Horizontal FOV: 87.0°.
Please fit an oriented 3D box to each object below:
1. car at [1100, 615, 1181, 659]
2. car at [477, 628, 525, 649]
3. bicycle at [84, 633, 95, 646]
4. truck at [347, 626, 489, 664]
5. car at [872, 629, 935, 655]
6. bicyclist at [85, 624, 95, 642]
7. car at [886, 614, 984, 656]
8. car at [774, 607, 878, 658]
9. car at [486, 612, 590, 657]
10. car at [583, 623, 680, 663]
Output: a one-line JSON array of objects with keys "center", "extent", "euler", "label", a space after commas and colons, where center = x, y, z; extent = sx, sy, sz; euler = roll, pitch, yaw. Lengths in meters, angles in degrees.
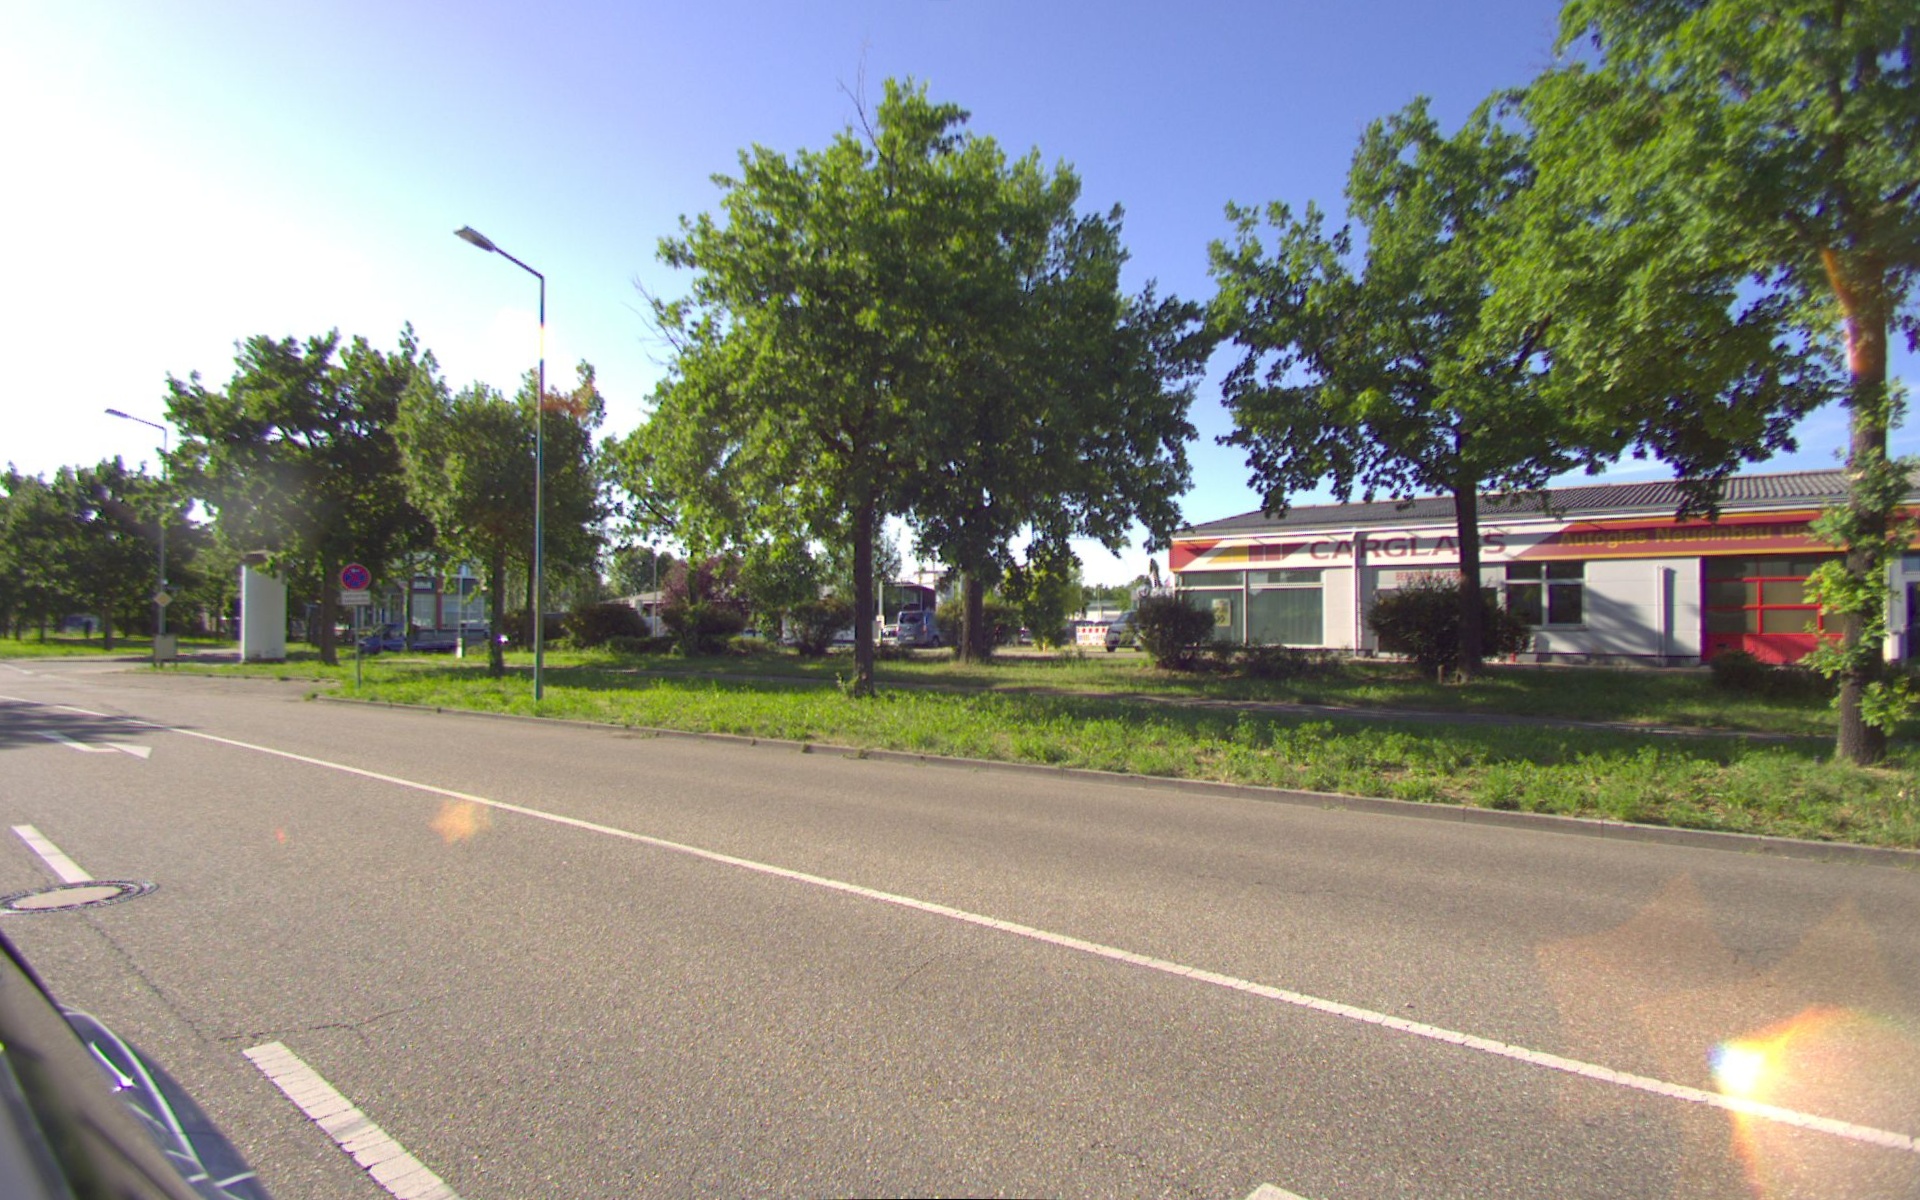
[{"center": [6.701, 1.337, 37.379], "extent": [1.590, 1.509, 3.564], "euler": [-1, -1, 36], "label": "car"}, {"center": [-37.735, 3.165, 83.197], "extent": [4.296, 1.505, 1.973], "euler": [1, 1, 40], "label": "car"}, {"center": [-82.198, 3.689, 95.596], "extent": [2.335, 1.170, 0.545], "euler": [-1, 0, 44], "label": "bicycle"}, {"center": [-31.497, 2.609, 59.096], "extent": [2.138, 2.065, 7.042], "euler": [-1, -2, 38], "label": "truck"}, {"center": [-3.075, 2.274, 55.421], "extent": [1.572, 1.312, 3.488], "euler": [-2, -2, 38], "label": "car"}, {"center": [-82.102, 3.095, 95.540], "extent": [0.659, 1.641, 0.656], "euler": [-1, -1, 43], "label": "bicyclist"}, {"center": [-1.250, 1.822, 52.962], "extent": [2.297, 2.085, 5.358], "euler": [-1, -2, 37], "label": "car"}, {"center": [-7.602, 1.787, 57.881], "extent": [2.297, 2.723, 6.102], "euler": [-1, 0, 37], "label": "car"}, {"center": [-27.091, 2.160, 65.132], "extent": [2.297, 2.723, 5.807], "euler": [-1, 0, 37], "label": "car"}, {"center": [-22.935, 2.959, 70.927], "extent": [2.297, 2.535, 6.279], "euler": [-1, 0, 37], "label": "car"}]
